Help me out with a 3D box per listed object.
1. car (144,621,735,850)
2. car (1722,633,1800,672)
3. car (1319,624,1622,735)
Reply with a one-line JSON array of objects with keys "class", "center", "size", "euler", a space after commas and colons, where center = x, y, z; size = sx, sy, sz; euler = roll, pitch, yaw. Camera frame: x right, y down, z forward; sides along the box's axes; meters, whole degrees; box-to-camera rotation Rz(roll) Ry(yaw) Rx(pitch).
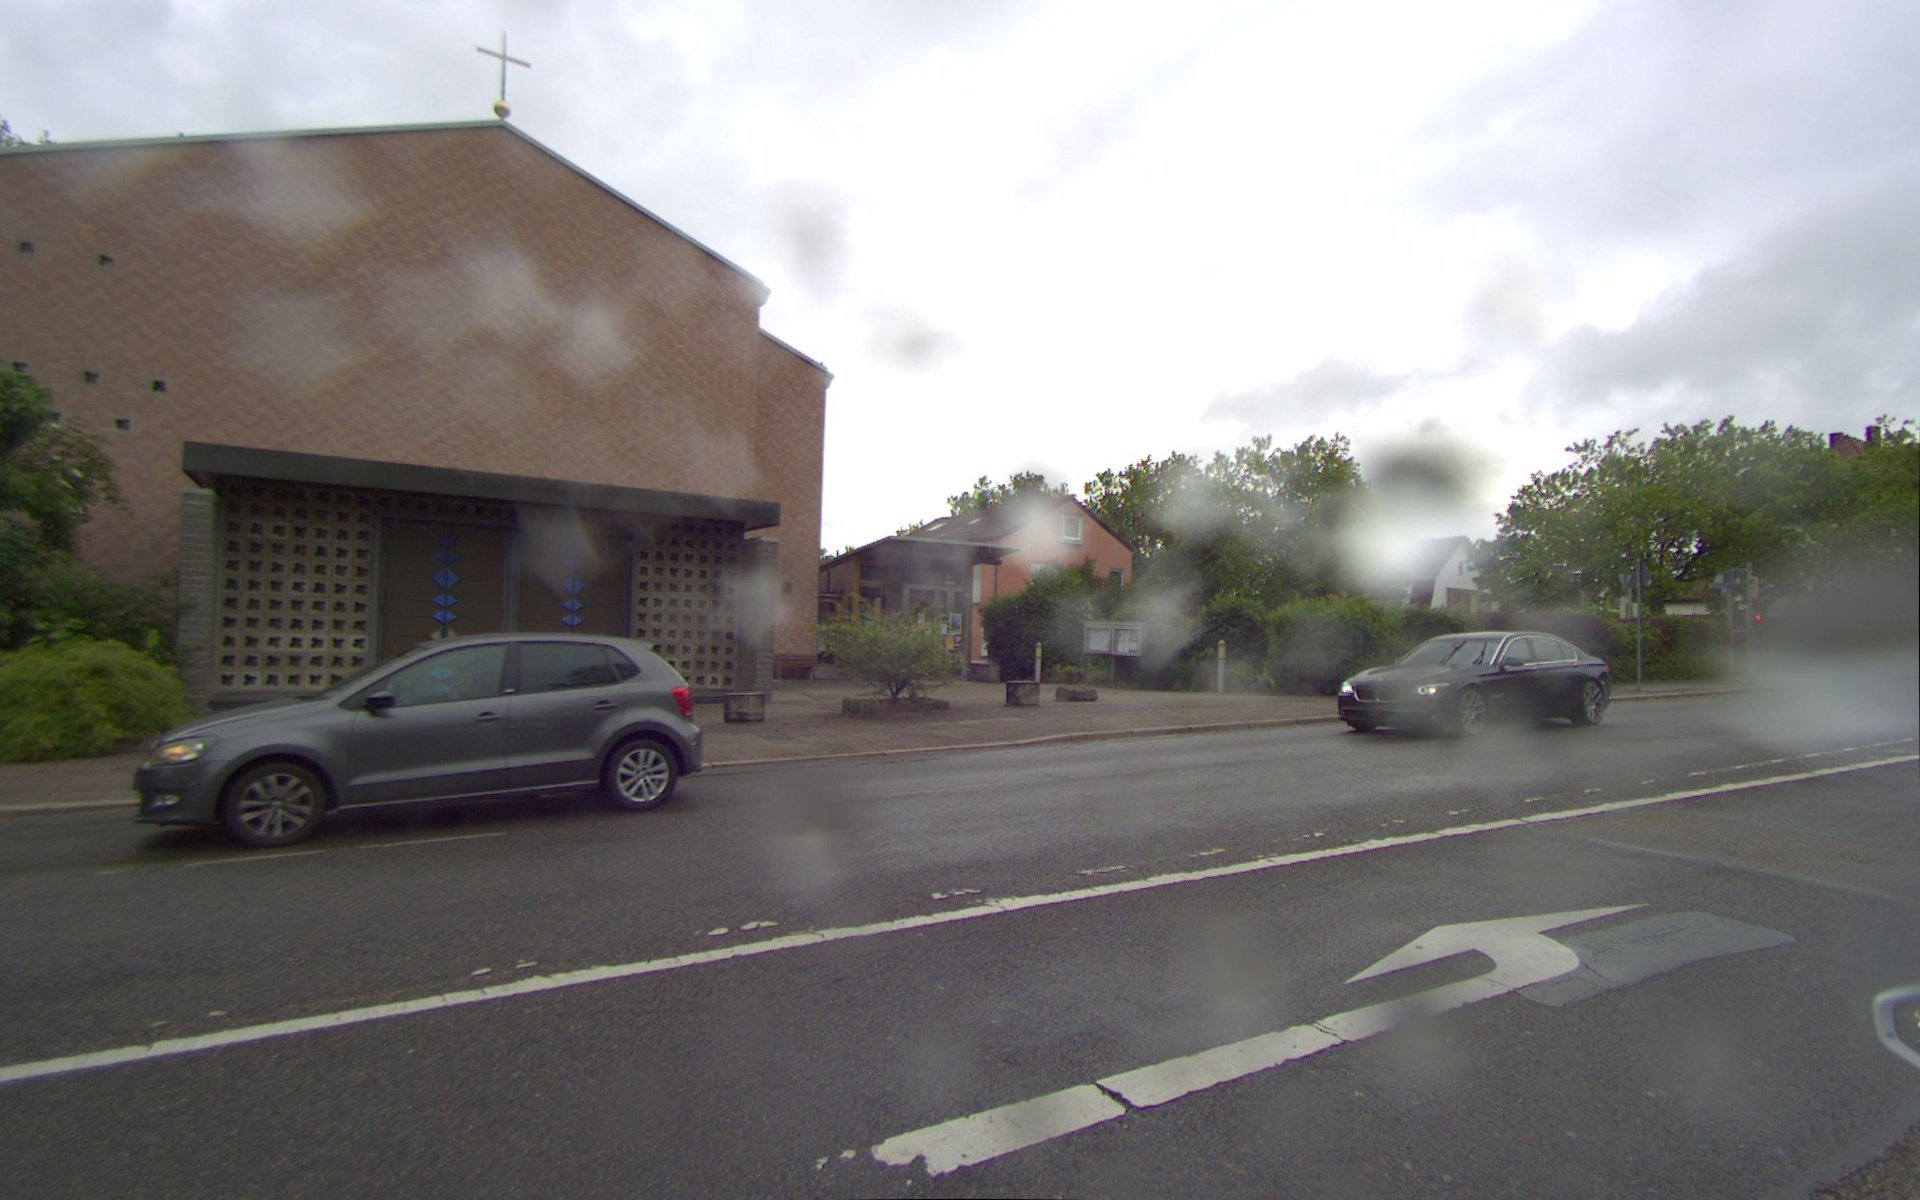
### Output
[{"class": "car", "center": [-3.939, 0.926, 8.081], "size": [3.863, 1.447, 1.586], "euler": [1, -3, -33]}, {"class": "car", "center": [39.082, 2.532, 49.004], "size": [3.955, 1.573, 1.798], "euler": [-3, 2, -32]}, {"class": "car", "center": [7.907, 1.164, 15.427], "size": [4.894, 1.473, 1.900], "euler": [2, -4, -32]}]
